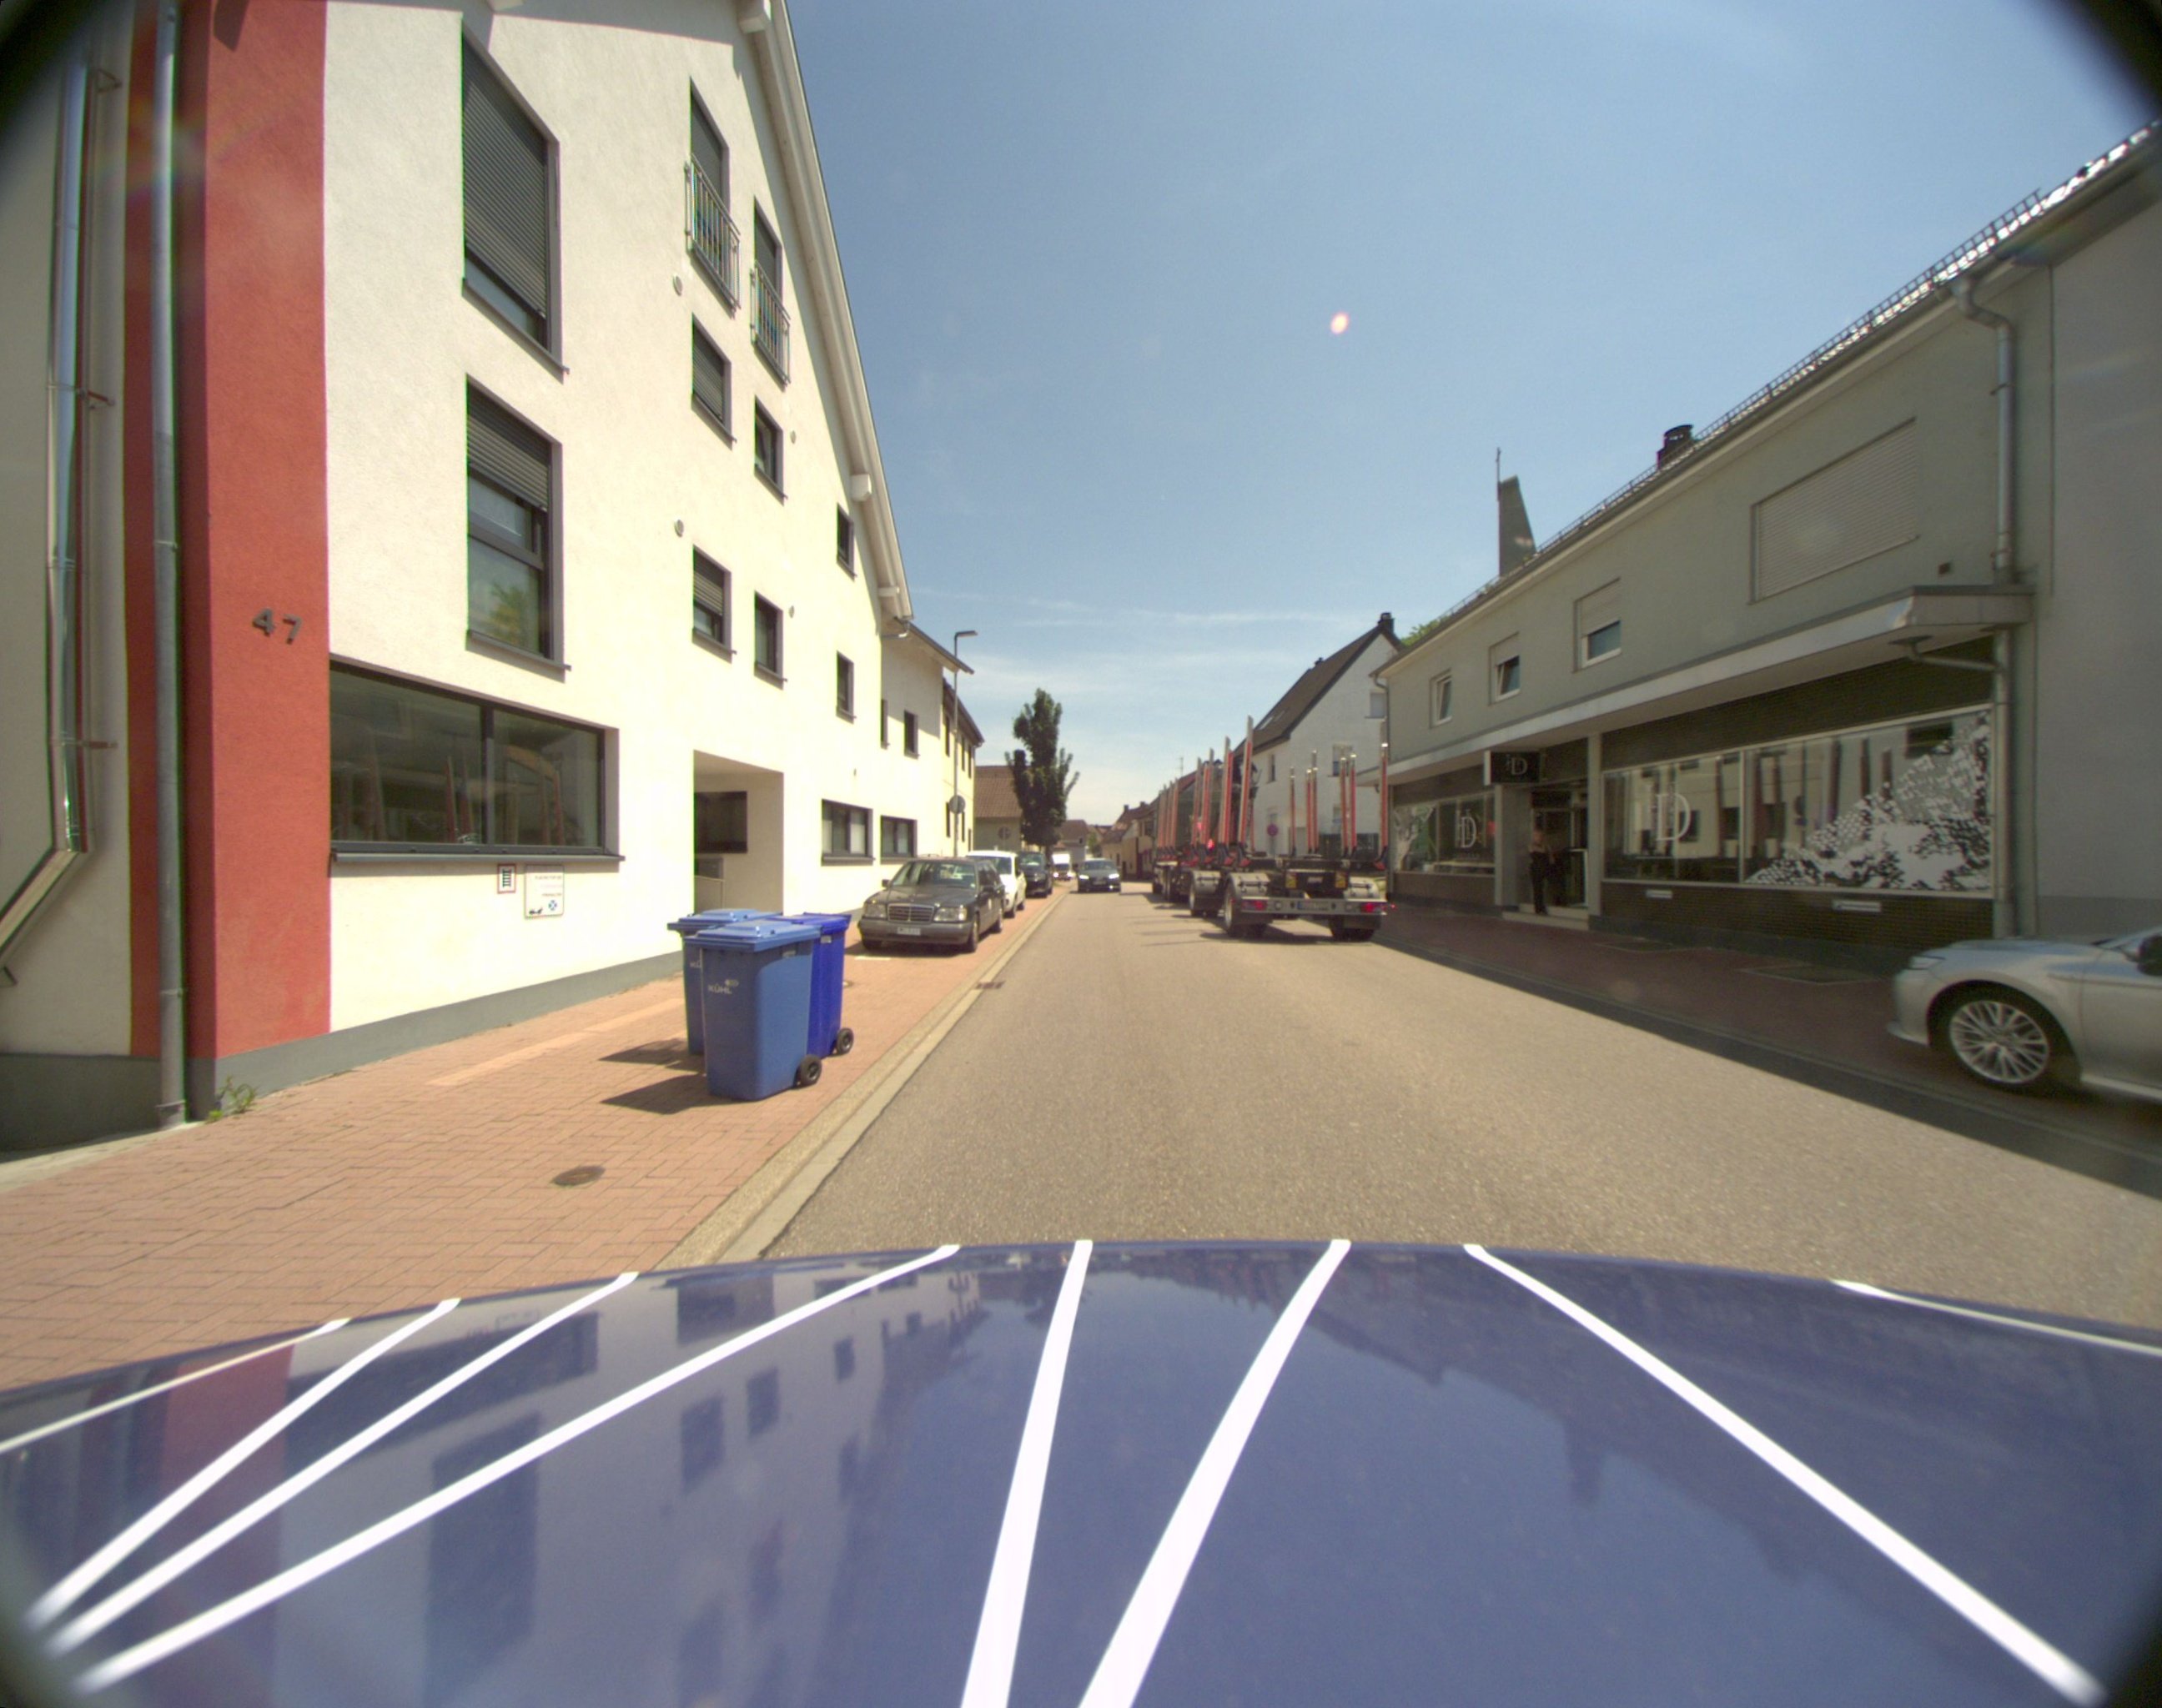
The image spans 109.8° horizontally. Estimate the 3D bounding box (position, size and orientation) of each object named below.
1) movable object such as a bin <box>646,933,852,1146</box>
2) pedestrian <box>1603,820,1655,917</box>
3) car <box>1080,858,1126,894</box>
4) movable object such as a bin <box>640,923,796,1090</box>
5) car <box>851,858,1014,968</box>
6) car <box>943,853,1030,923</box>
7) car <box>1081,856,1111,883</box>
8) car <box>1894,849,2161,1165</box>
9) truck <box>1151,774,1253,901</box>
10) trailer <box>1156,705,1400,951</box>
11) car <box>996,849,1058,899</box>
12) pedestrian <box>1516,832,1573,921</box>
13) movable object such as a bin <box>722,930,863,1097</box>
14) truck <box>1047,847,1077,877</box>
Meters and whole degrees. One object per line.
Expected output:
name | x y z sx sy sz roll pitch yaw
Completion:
movable object such as a bin | -2.068 1.101 4.837 0.723 1.067 0.973 2 1 18
pedestrian | 9.882 0.248 13.705 0.664 1.703 0.632 -1 2 42
car | 0.886 0.874 31.565 1.786 1.364 3.607 -1 0 1
movable object such as a bin | -2.718 1.104 5.751 0.655 1.054 0.836 2 1 18
car | -2.328 0.851 13.205 1.704 1.438 4.836 2 0 2
car | -2.237 0.767 18.859 1.610 1.513 3.545 2 0 1
car | 1.107 1.120 58.785 2.079 1.949 5.518 -1 0 -1
car | 6.429 0.798 2.906 1.812 1.548 4.565 -3 0 2
truck | 4.130 -0.539 27.363 2.625 3.962 6.852 1 1 1
trailer | 3.982 -0.478 20.234 2.637 3.956 15.698 1 0 1
car | -1.855 0.688 27.447 1.807 1.604 4.549 1 0 1
pedestrian | 8.992 0.427 14.752 0.626 1.675 0.771 -1 1 1
movable object such as a bin | -2.086 1.119 5.545 0.656 1.029 0.685 2 1 18
truck | -2.375 0.892 91.420 2.869 3.491 8.314 0 0 -7
